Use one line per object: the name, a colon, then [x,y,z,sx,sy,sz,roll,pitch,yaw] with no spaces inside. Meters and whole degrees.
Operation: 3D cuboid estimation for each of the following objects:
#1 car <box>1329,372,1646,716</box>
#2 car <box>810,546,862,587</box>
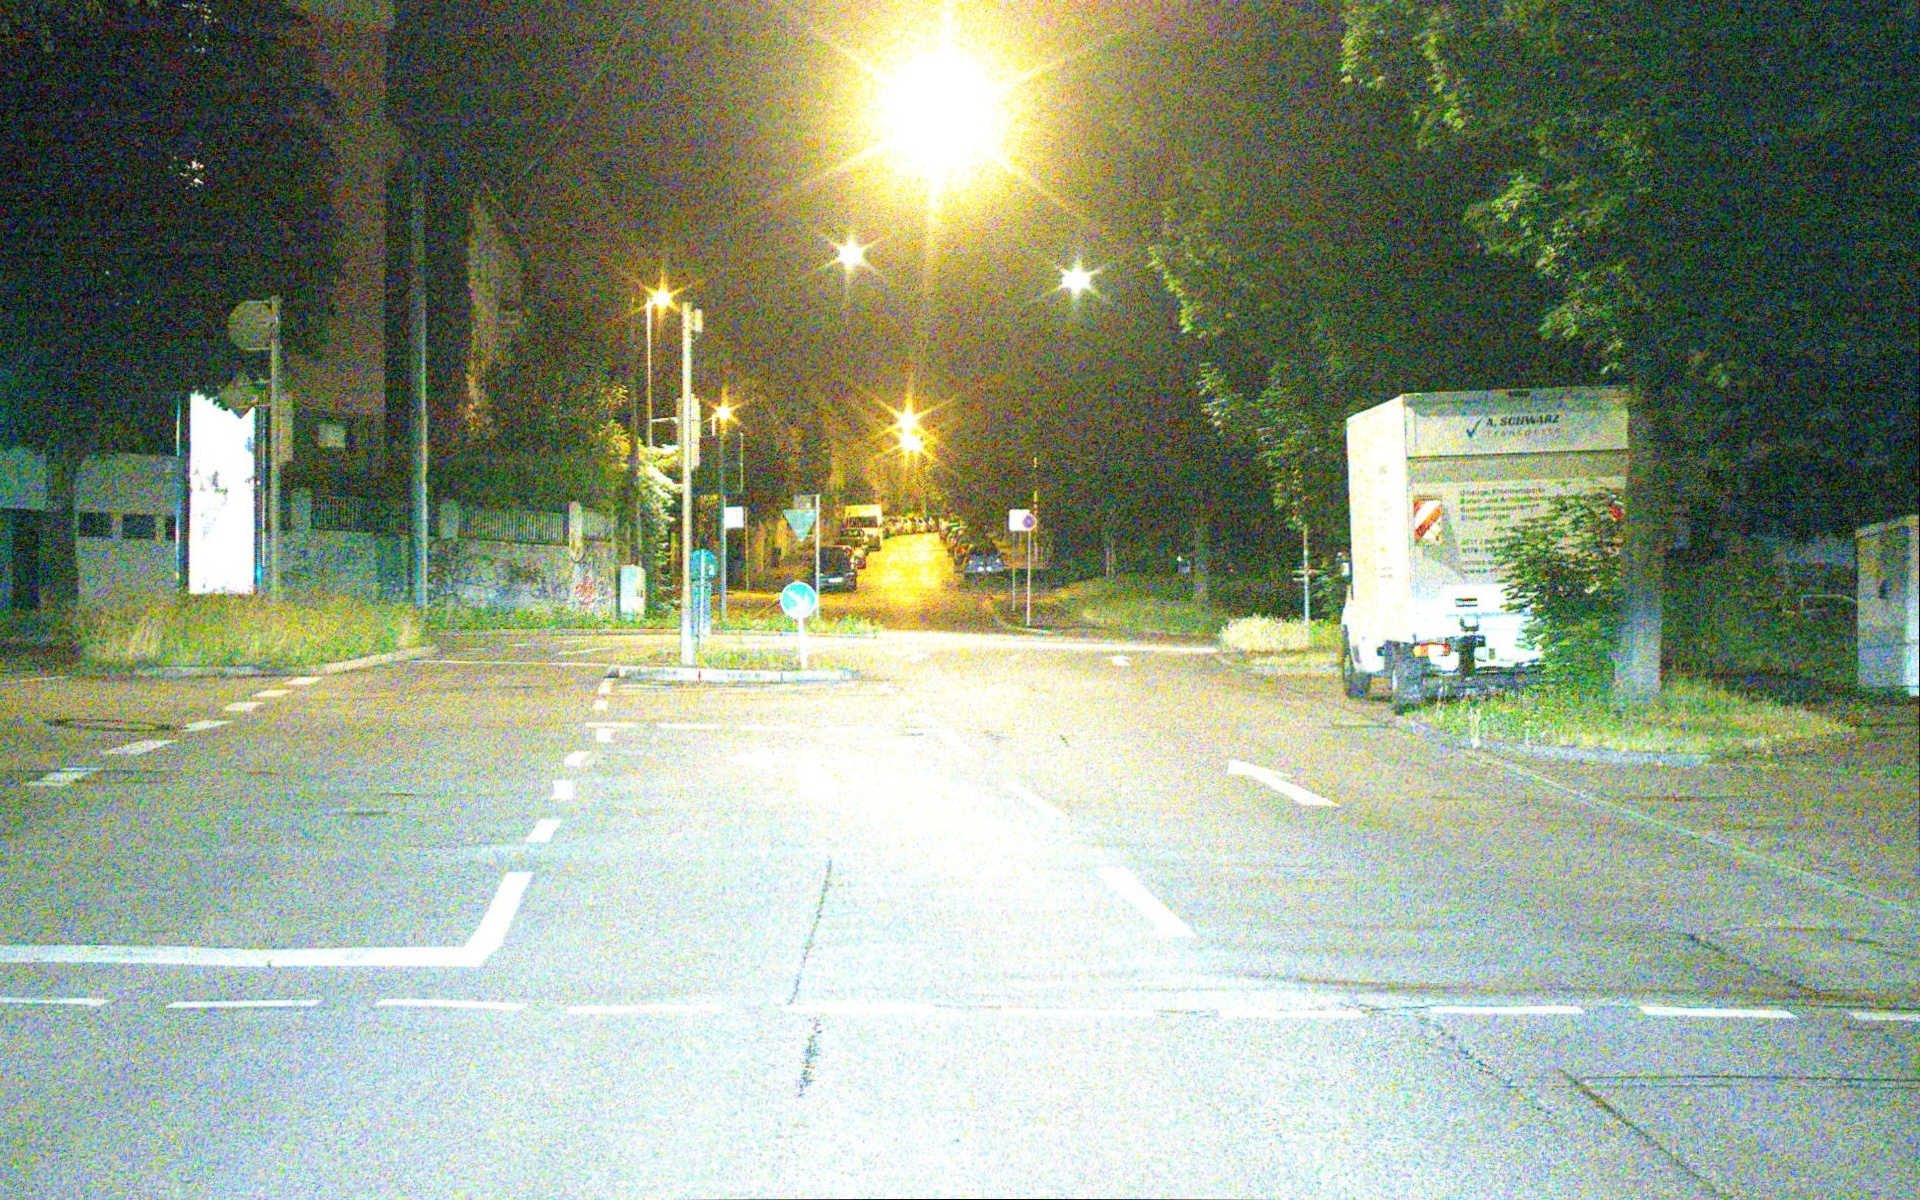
car: [5.120,-0.544,34.239,2.297,3.082,5.840,-1,1,1]
car: [-4.842,-1.293,134.407,1.908,1.552,3.904,1,1,-1]
